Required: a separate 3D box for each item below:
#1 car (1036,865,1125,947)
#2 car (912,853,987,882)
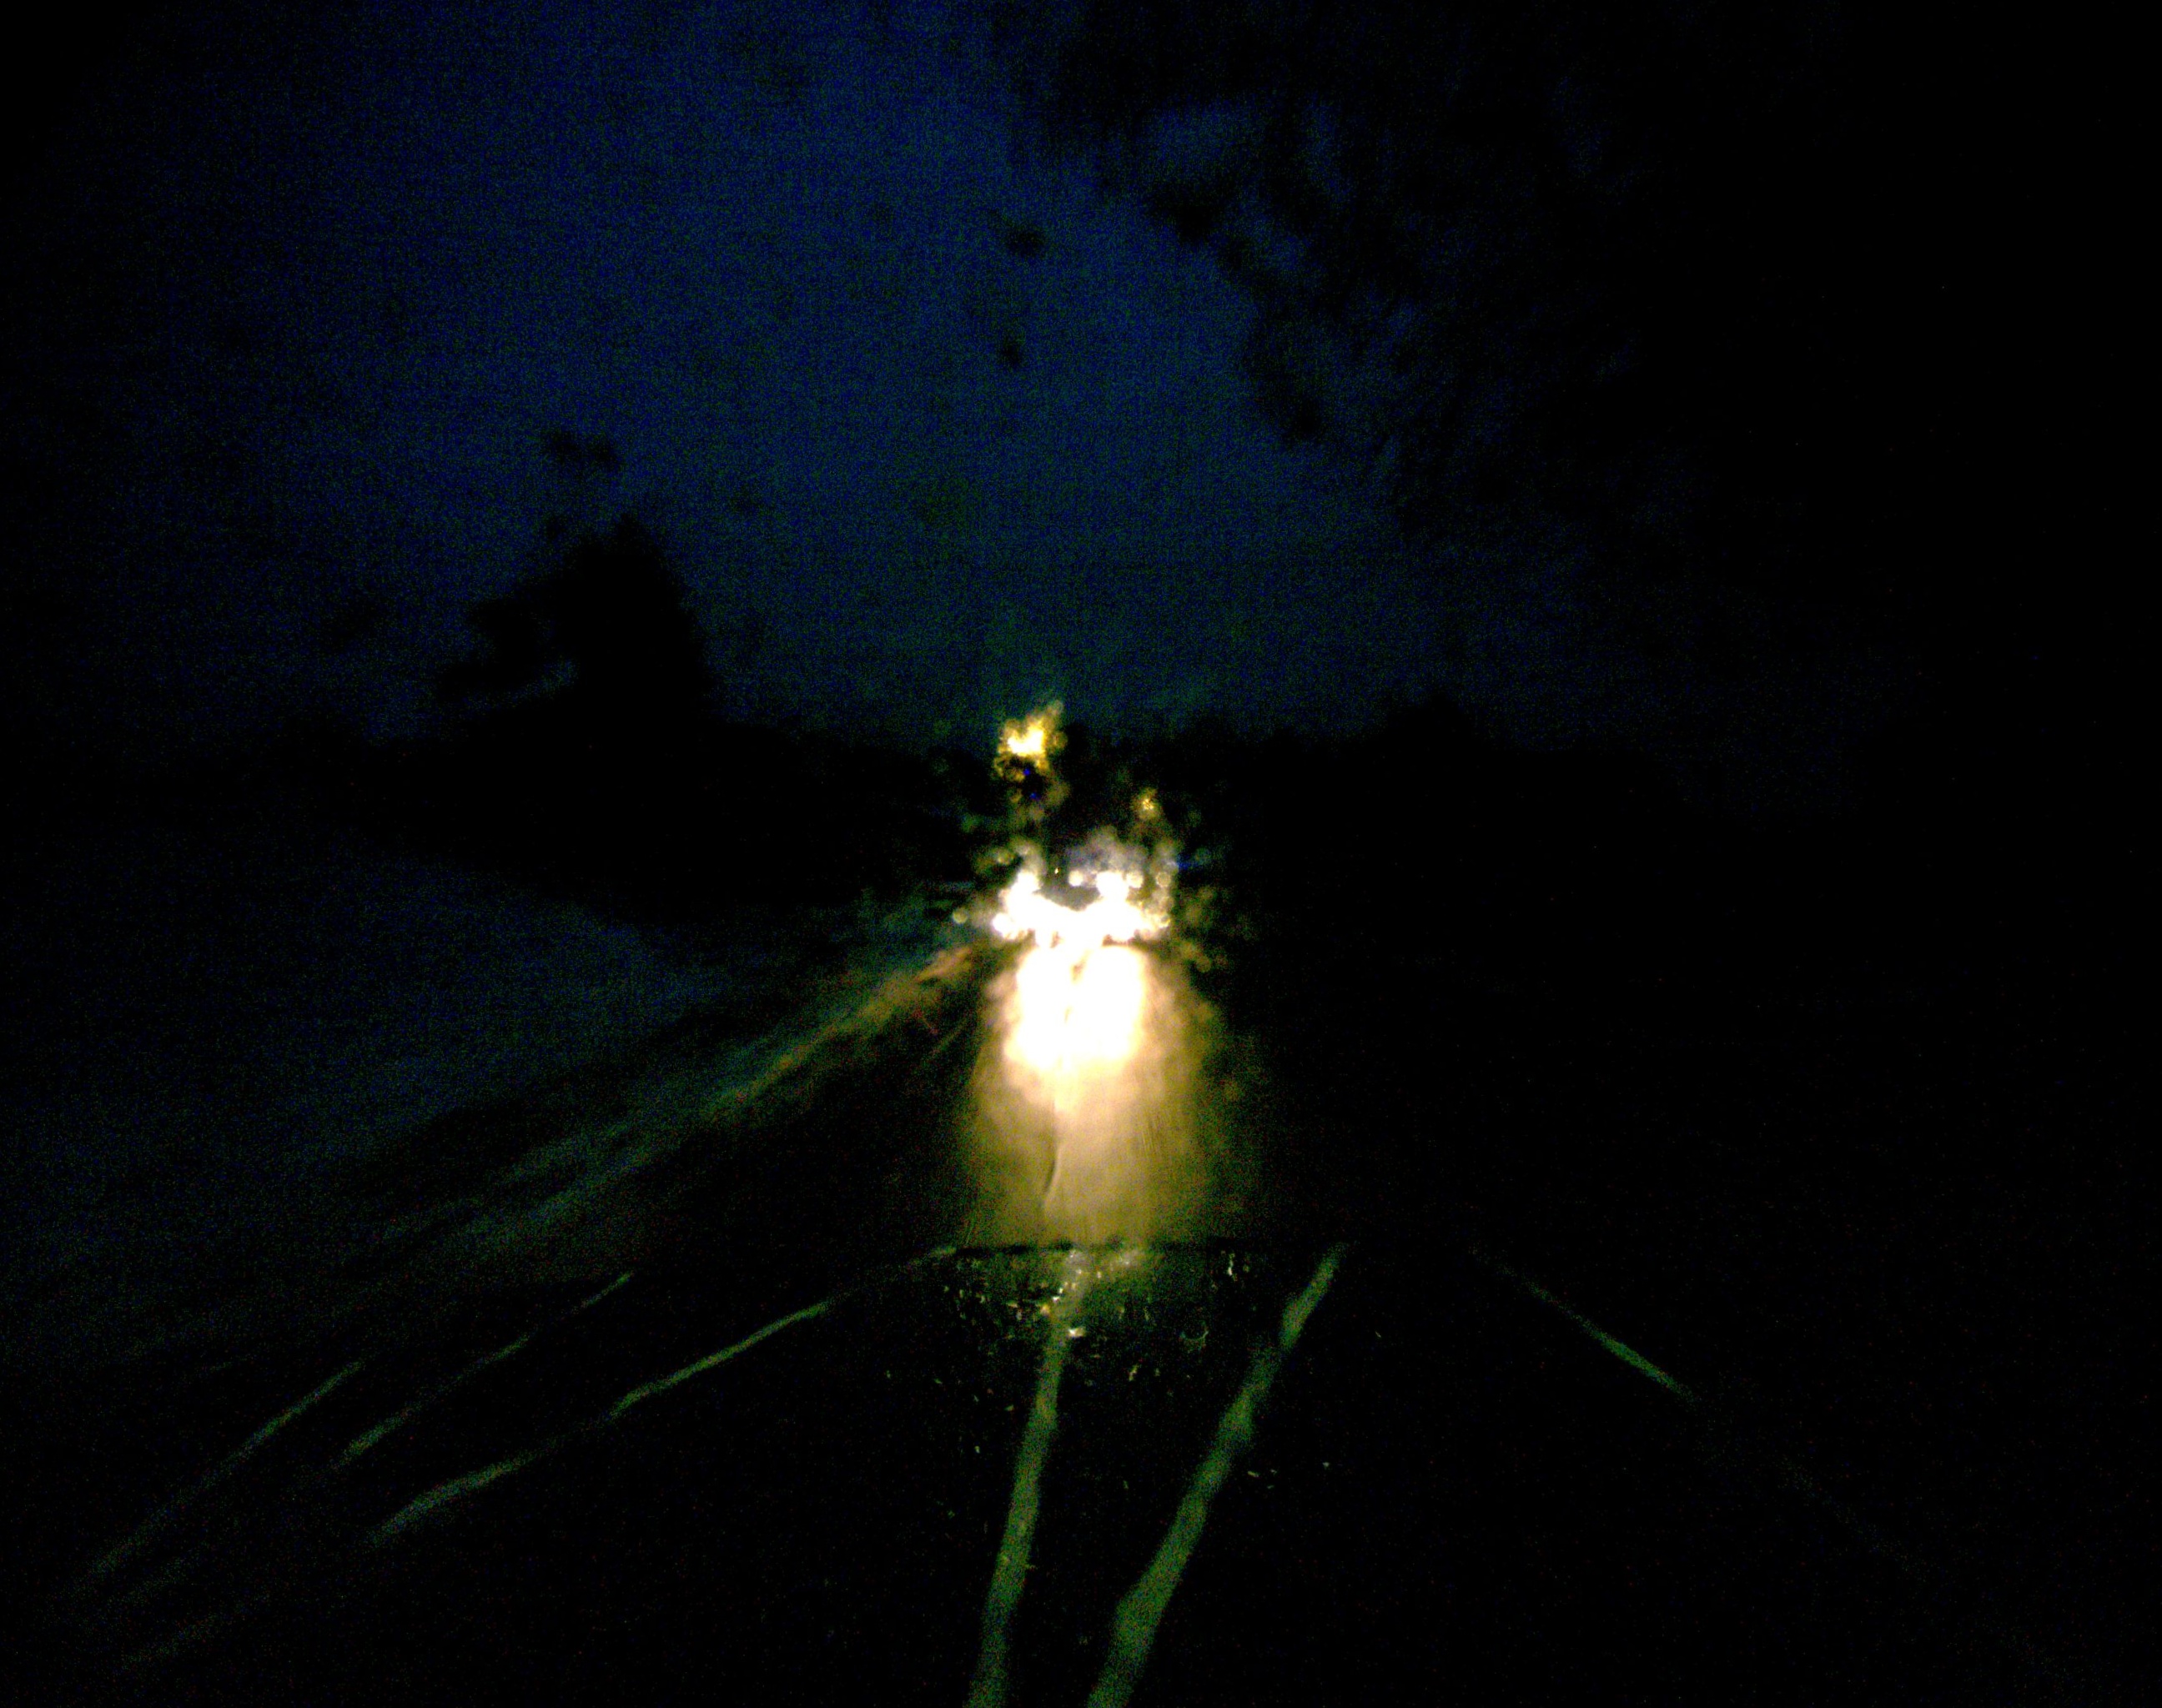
[{"bbox_3d":[-0.109,0.996,15.963,1.650,1.446,3.679,0,0,-3],"label":"car"},{"bbox_3d":[-8.541,0.866,49.426,4.403,1.647,1.864,2,-1,9],"label":"car"}]
